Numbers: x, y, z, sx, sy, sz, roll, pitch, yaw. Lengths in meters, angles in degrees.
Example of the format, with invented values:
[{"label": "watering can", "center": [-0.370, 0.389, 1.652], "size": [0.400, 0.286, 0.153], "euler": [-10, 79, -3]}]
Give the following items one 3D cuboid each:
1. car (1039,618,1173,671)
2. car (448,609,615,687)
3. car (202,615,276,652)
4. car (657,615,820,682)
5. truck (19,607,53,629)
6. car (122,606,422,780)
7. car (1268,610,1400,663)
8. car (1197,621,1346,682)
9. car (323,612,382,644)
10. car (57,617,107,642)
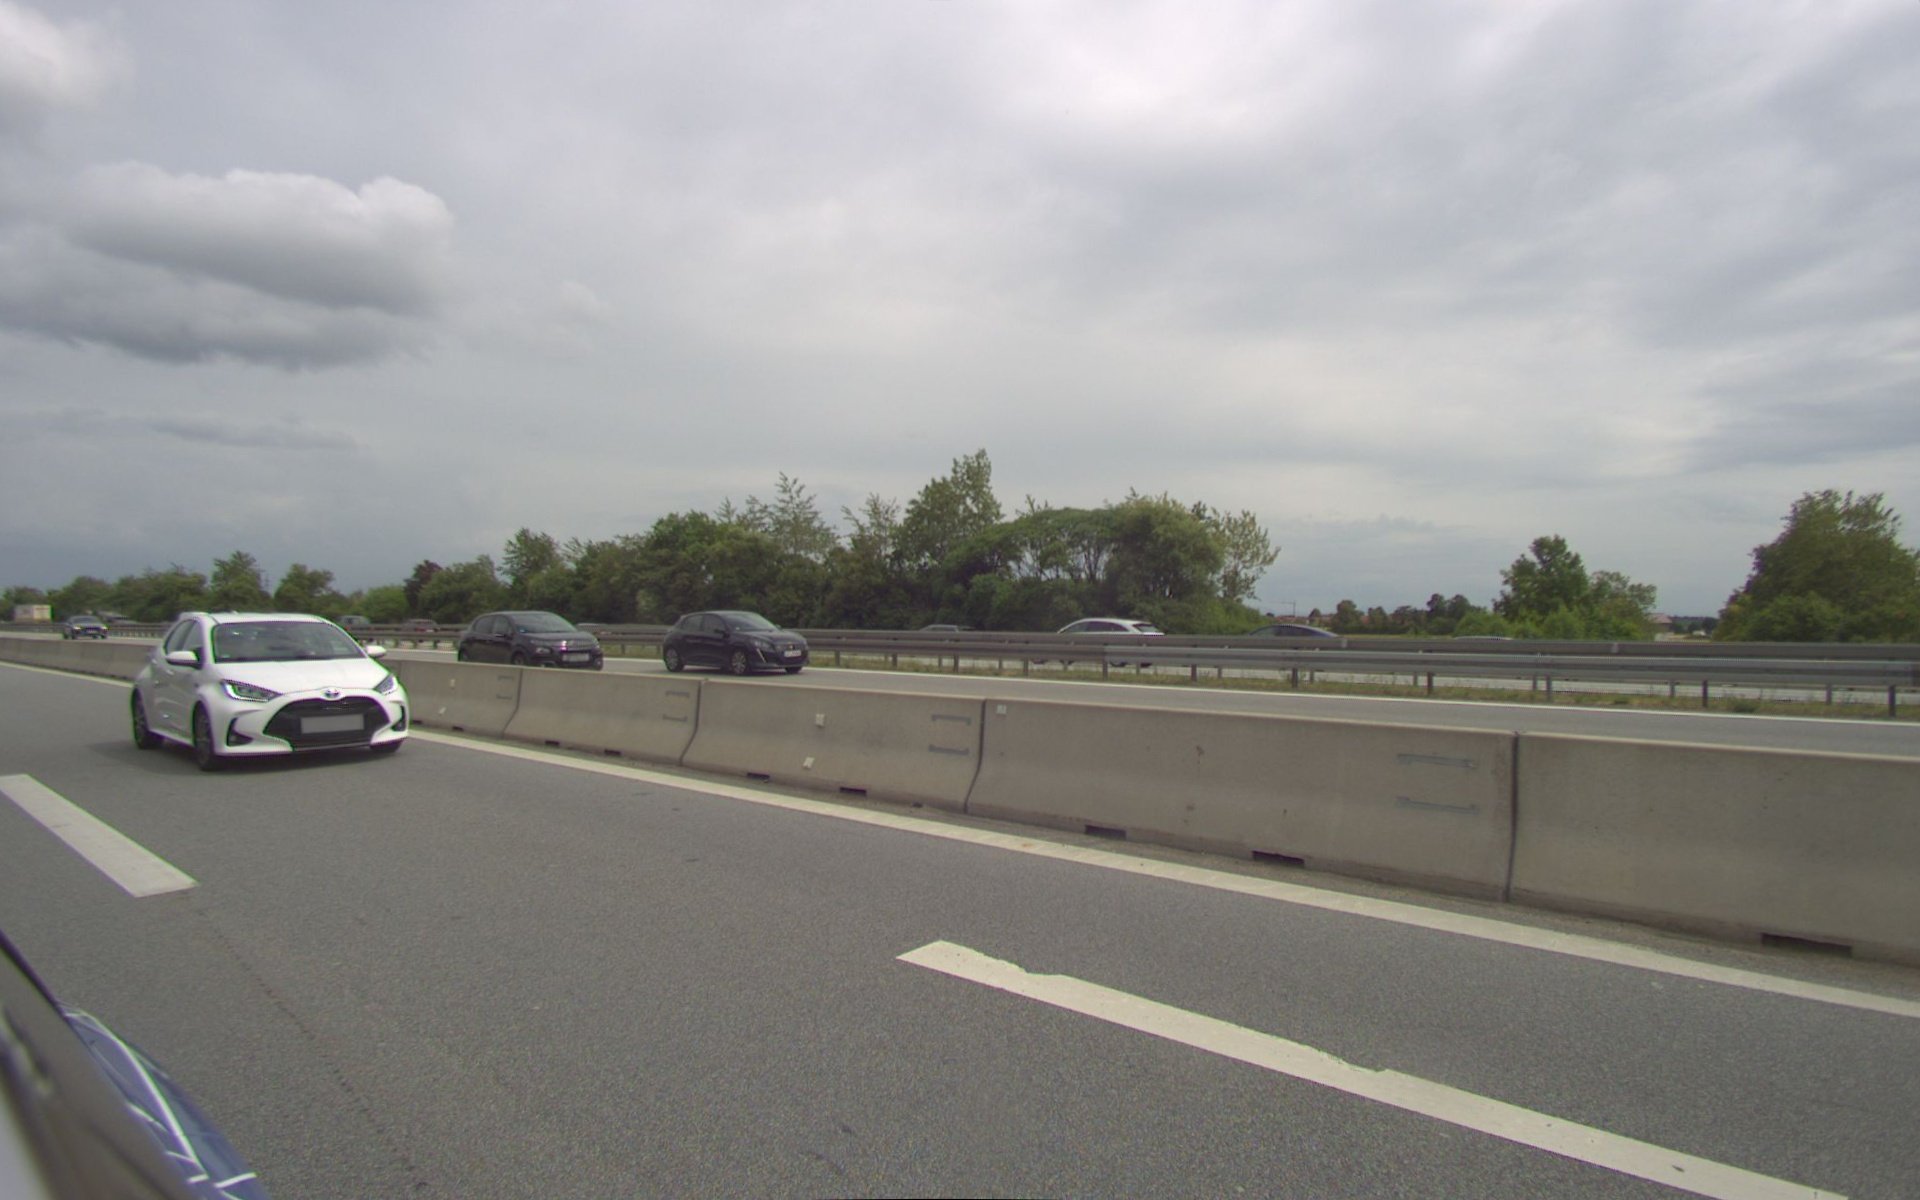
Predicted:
[{"label": "car", "center": [4.457, 1.332, 31.083], "size": [3.713, 1.531, 1.717], "euler": [-1, -1, 36]}, {"label": "car", "center": [-9.345, 0.995, 21.947], "size": [3.997, 1.541, 1.756], "euler": [-1, -2, 40]}, {"label": "car", "center": [-33.806, 1.530, 47.406], "size": [4.230, 1.651, 1.882], "euler": [-1, -1, 40]}, {"label": "car", "center": [-5.138, 1.054, 23.190], "size": [3.997, 1.386, 1.537], "euler": [-1, -1, 40]}, {"label": "truck", "center": [-165.699, 3.226, 181.462], "size": [9.829, 3.811, 3.218], "euler": [-1, -1, 40]}, {"label": "car", "center": [-7.385, 0.843, 10.734], "size": [3.837, 1.519, 1.684], "euler": [-1, -1, 41]}, {"label": "car", "center": [12.921, 1.246, 35.086], "size": [3.995, 1.741, 1.671], "euler": [-1, -2, 39]}, {"label": "car", "center": [9.396, 1.502, 30.664], "size": [3.992, 1.741, 1.672], "euler": [-1, -1, 36]}, {"label": "car", "center": [-36.880, 1.680, 61.396], "size": [3.998, 1.863, 1.973], "euler": [-1, -1, 41]}, {"label": "car", "center": [-59.493, 1.982, 68.575], "size": [4.641, 1.652, 1.882], "euler": [-1, -1, 40]}]
